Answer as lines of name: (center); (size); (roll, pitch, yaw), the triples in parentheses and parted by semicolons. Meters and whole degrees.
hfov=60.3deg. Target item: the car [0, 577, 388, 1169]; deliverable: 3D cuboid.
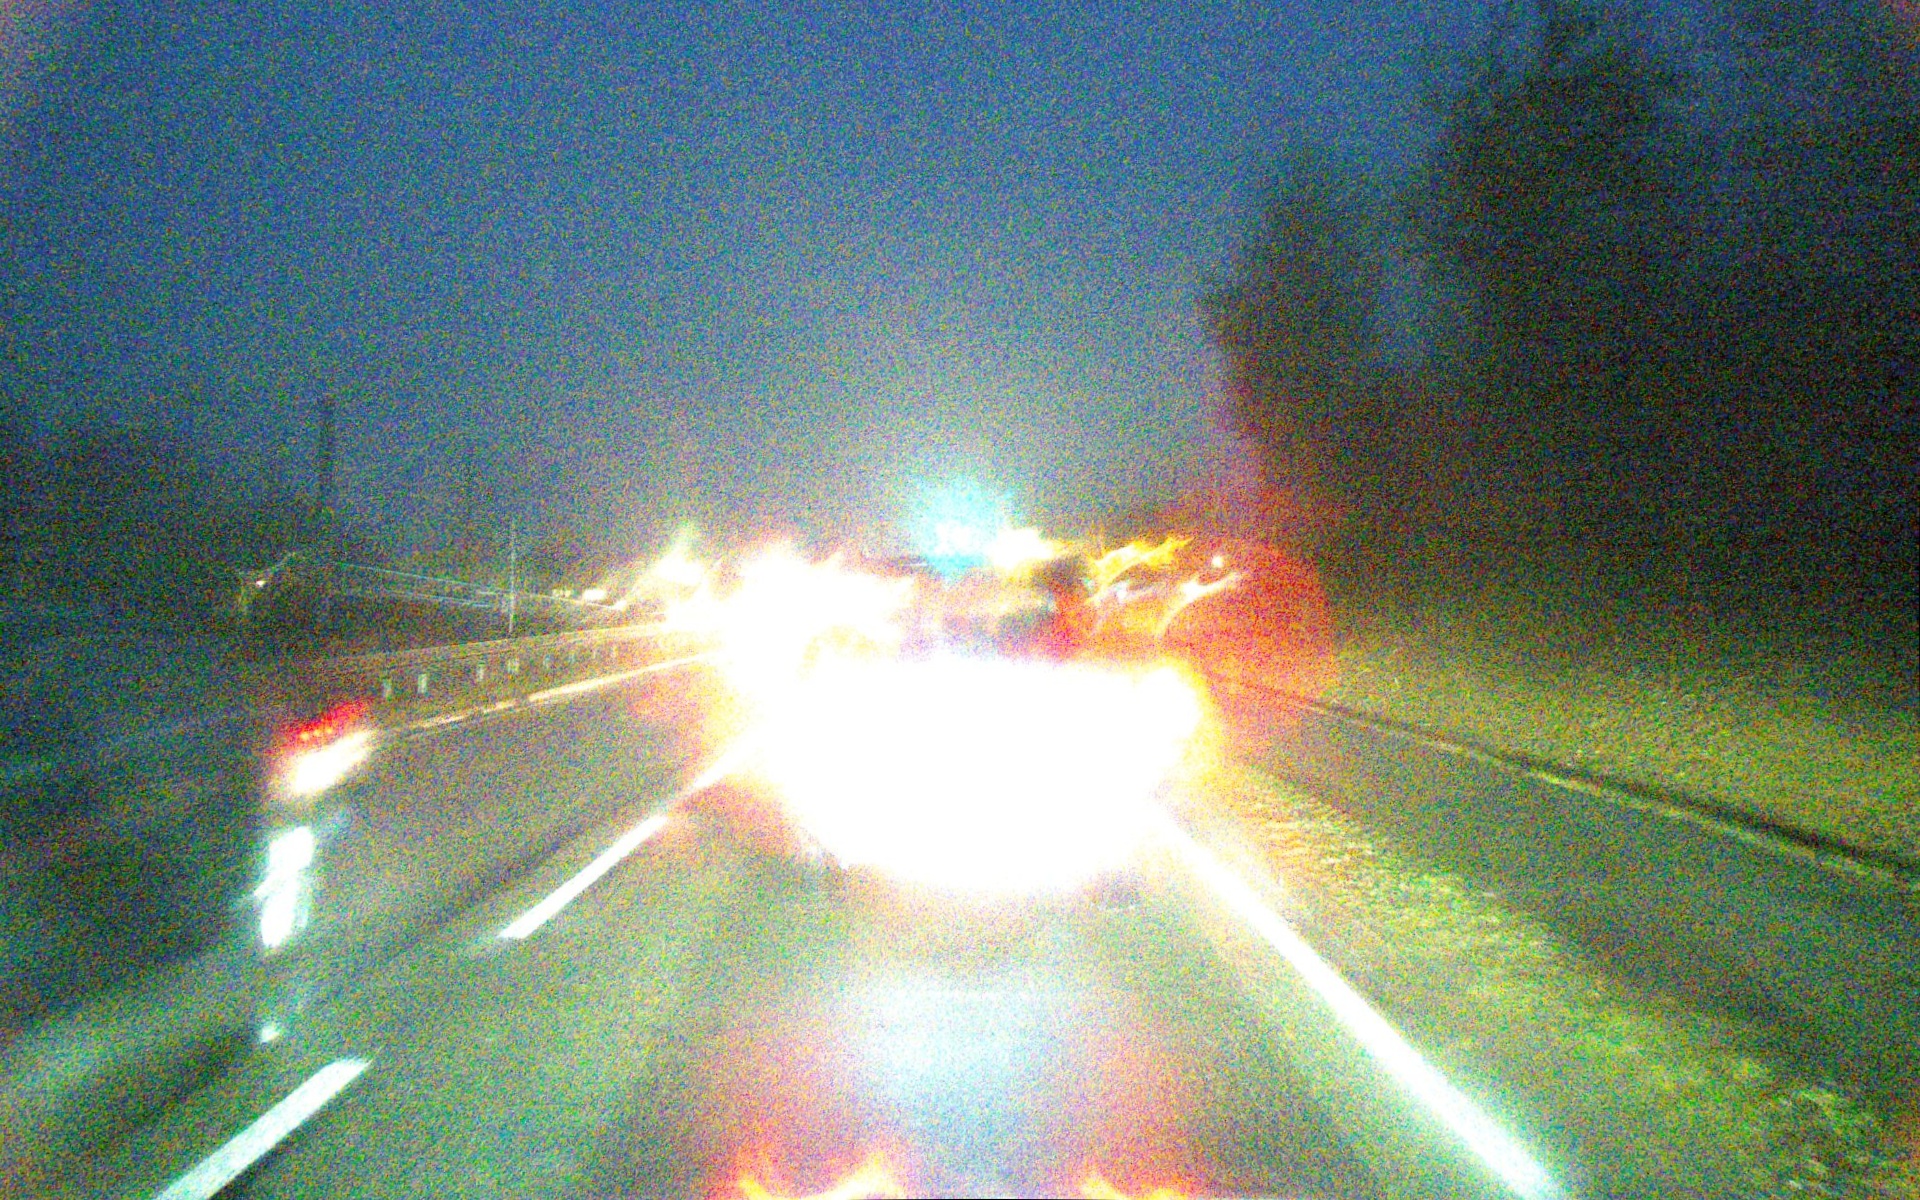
car: (-3.398, 0.679, 5.051); (1.865, 1.495, 4.273); (2, 0, -2)

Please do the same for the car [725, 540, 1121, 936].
car: (-0.172, 0.632, 9.362); (1.739, 1.742, 3.999); (1, -1, 0)
